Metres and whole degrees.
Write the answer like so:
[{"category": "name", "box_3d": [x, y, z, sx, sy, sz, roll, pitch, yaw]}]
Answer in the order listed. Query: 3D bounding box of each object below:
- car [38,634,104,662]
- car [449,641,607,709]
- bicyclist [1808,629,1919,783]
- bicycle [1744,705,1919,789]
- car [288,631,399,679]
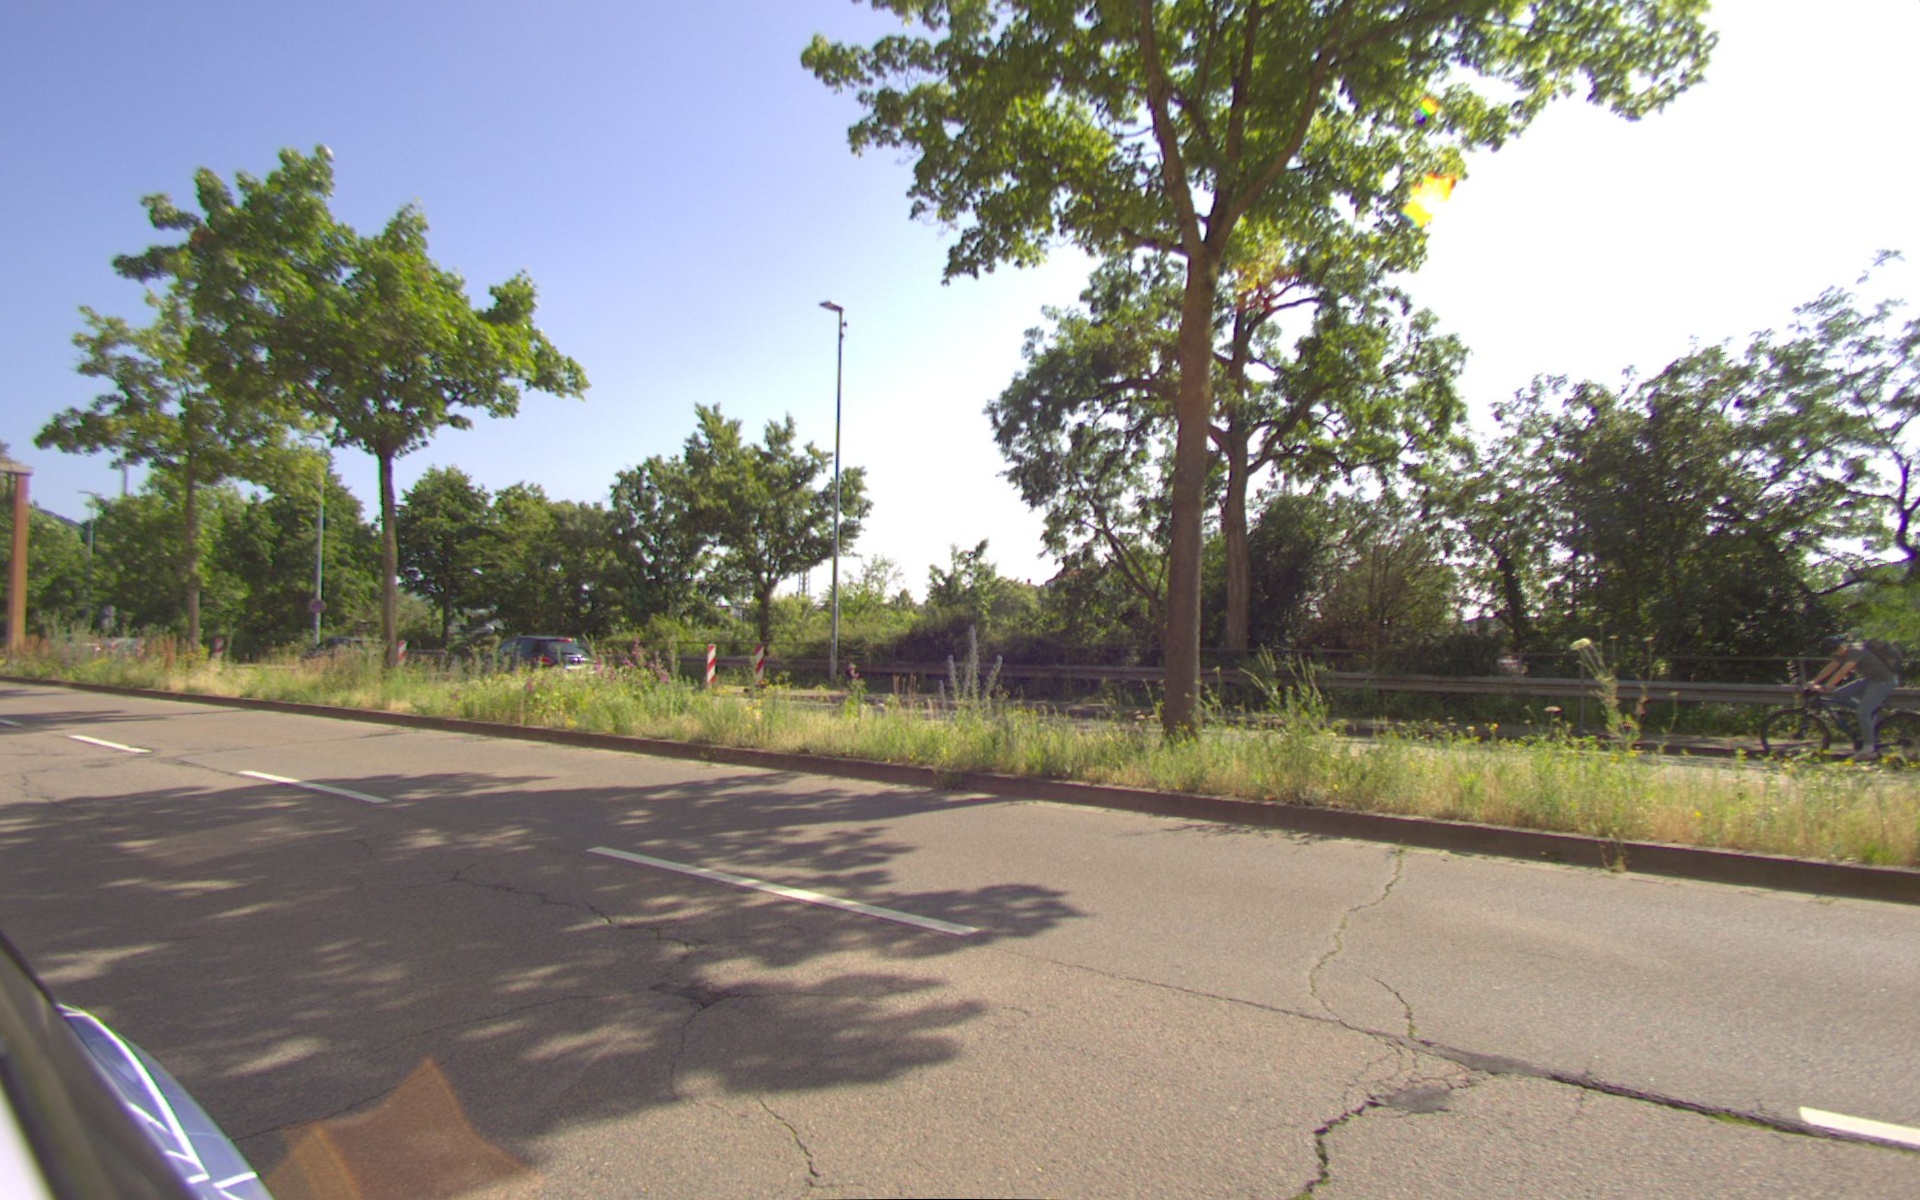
[{"category": "car", "box_3d": [-46.290, 2.488, 52.657, 3.960, 1.427, 1.631, -1, -3, 34]}, {"category": "car", "box_3d": [-10.485, 1.763, 24.459, 4.079, 1.485, 1.746, -2, -4, 38]}, {"category": "bicyclist", "box_3d": [11.381, 1.293, 12.710, 1.015, 1.846, 0.690, -2, -4, 36]}, {"category": "bicycle", "box_3d": [11.346, 1.835, 12.699, 2.337, 0.912, 0.687, -1, -4, 36]}, {"category": "car", "box_3d": [-21.041, 1.849, 34.518, 3.991, 1.542, 1.782, -1, -2, 35]}]
